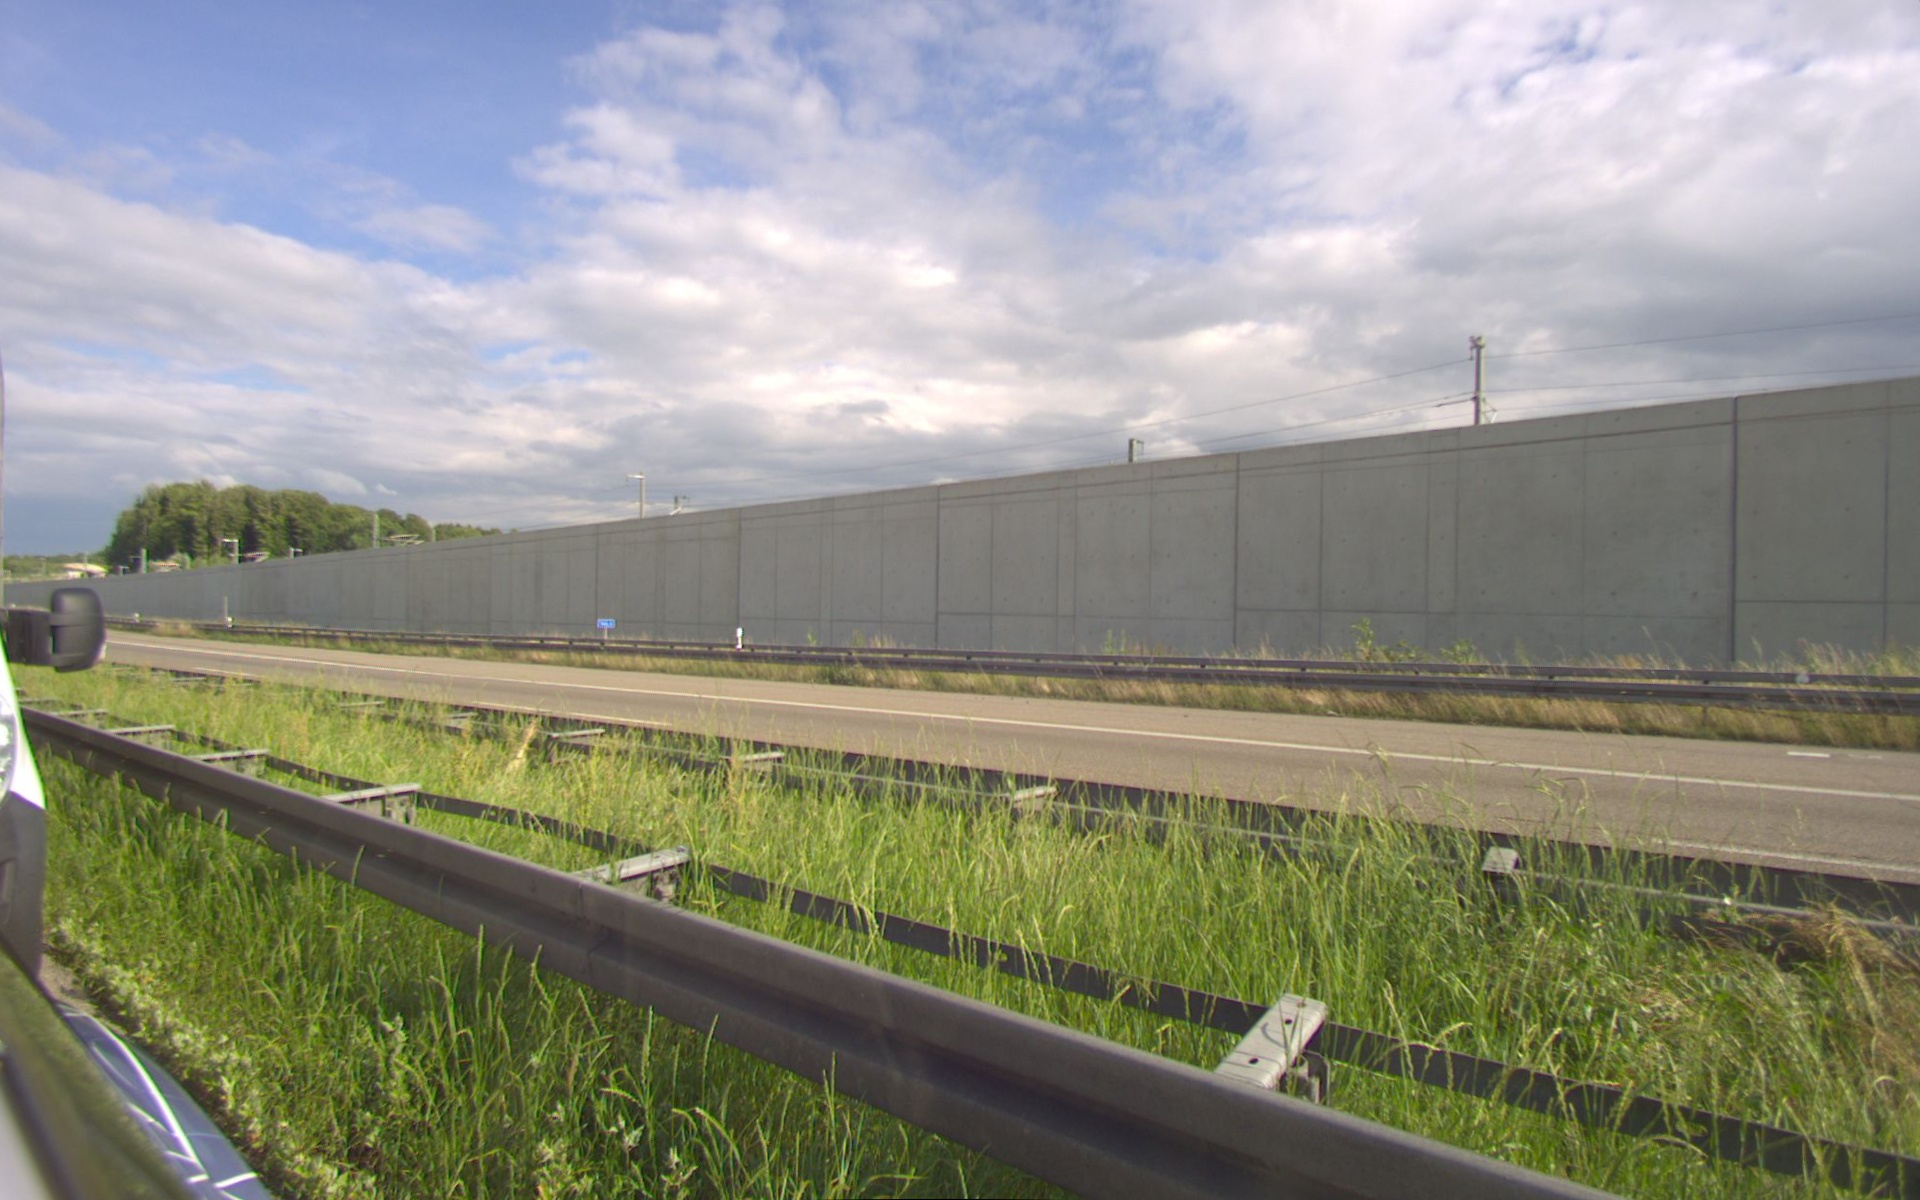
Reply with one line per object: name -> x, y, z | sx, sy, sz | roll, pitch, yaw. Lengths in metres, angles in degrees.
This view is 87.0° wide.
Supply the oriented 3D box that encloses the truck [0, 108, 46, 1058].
truck -> -6.679, -0.022, 5.215 | 7.800, 3.129, 2.033 | -1, 0, 41
